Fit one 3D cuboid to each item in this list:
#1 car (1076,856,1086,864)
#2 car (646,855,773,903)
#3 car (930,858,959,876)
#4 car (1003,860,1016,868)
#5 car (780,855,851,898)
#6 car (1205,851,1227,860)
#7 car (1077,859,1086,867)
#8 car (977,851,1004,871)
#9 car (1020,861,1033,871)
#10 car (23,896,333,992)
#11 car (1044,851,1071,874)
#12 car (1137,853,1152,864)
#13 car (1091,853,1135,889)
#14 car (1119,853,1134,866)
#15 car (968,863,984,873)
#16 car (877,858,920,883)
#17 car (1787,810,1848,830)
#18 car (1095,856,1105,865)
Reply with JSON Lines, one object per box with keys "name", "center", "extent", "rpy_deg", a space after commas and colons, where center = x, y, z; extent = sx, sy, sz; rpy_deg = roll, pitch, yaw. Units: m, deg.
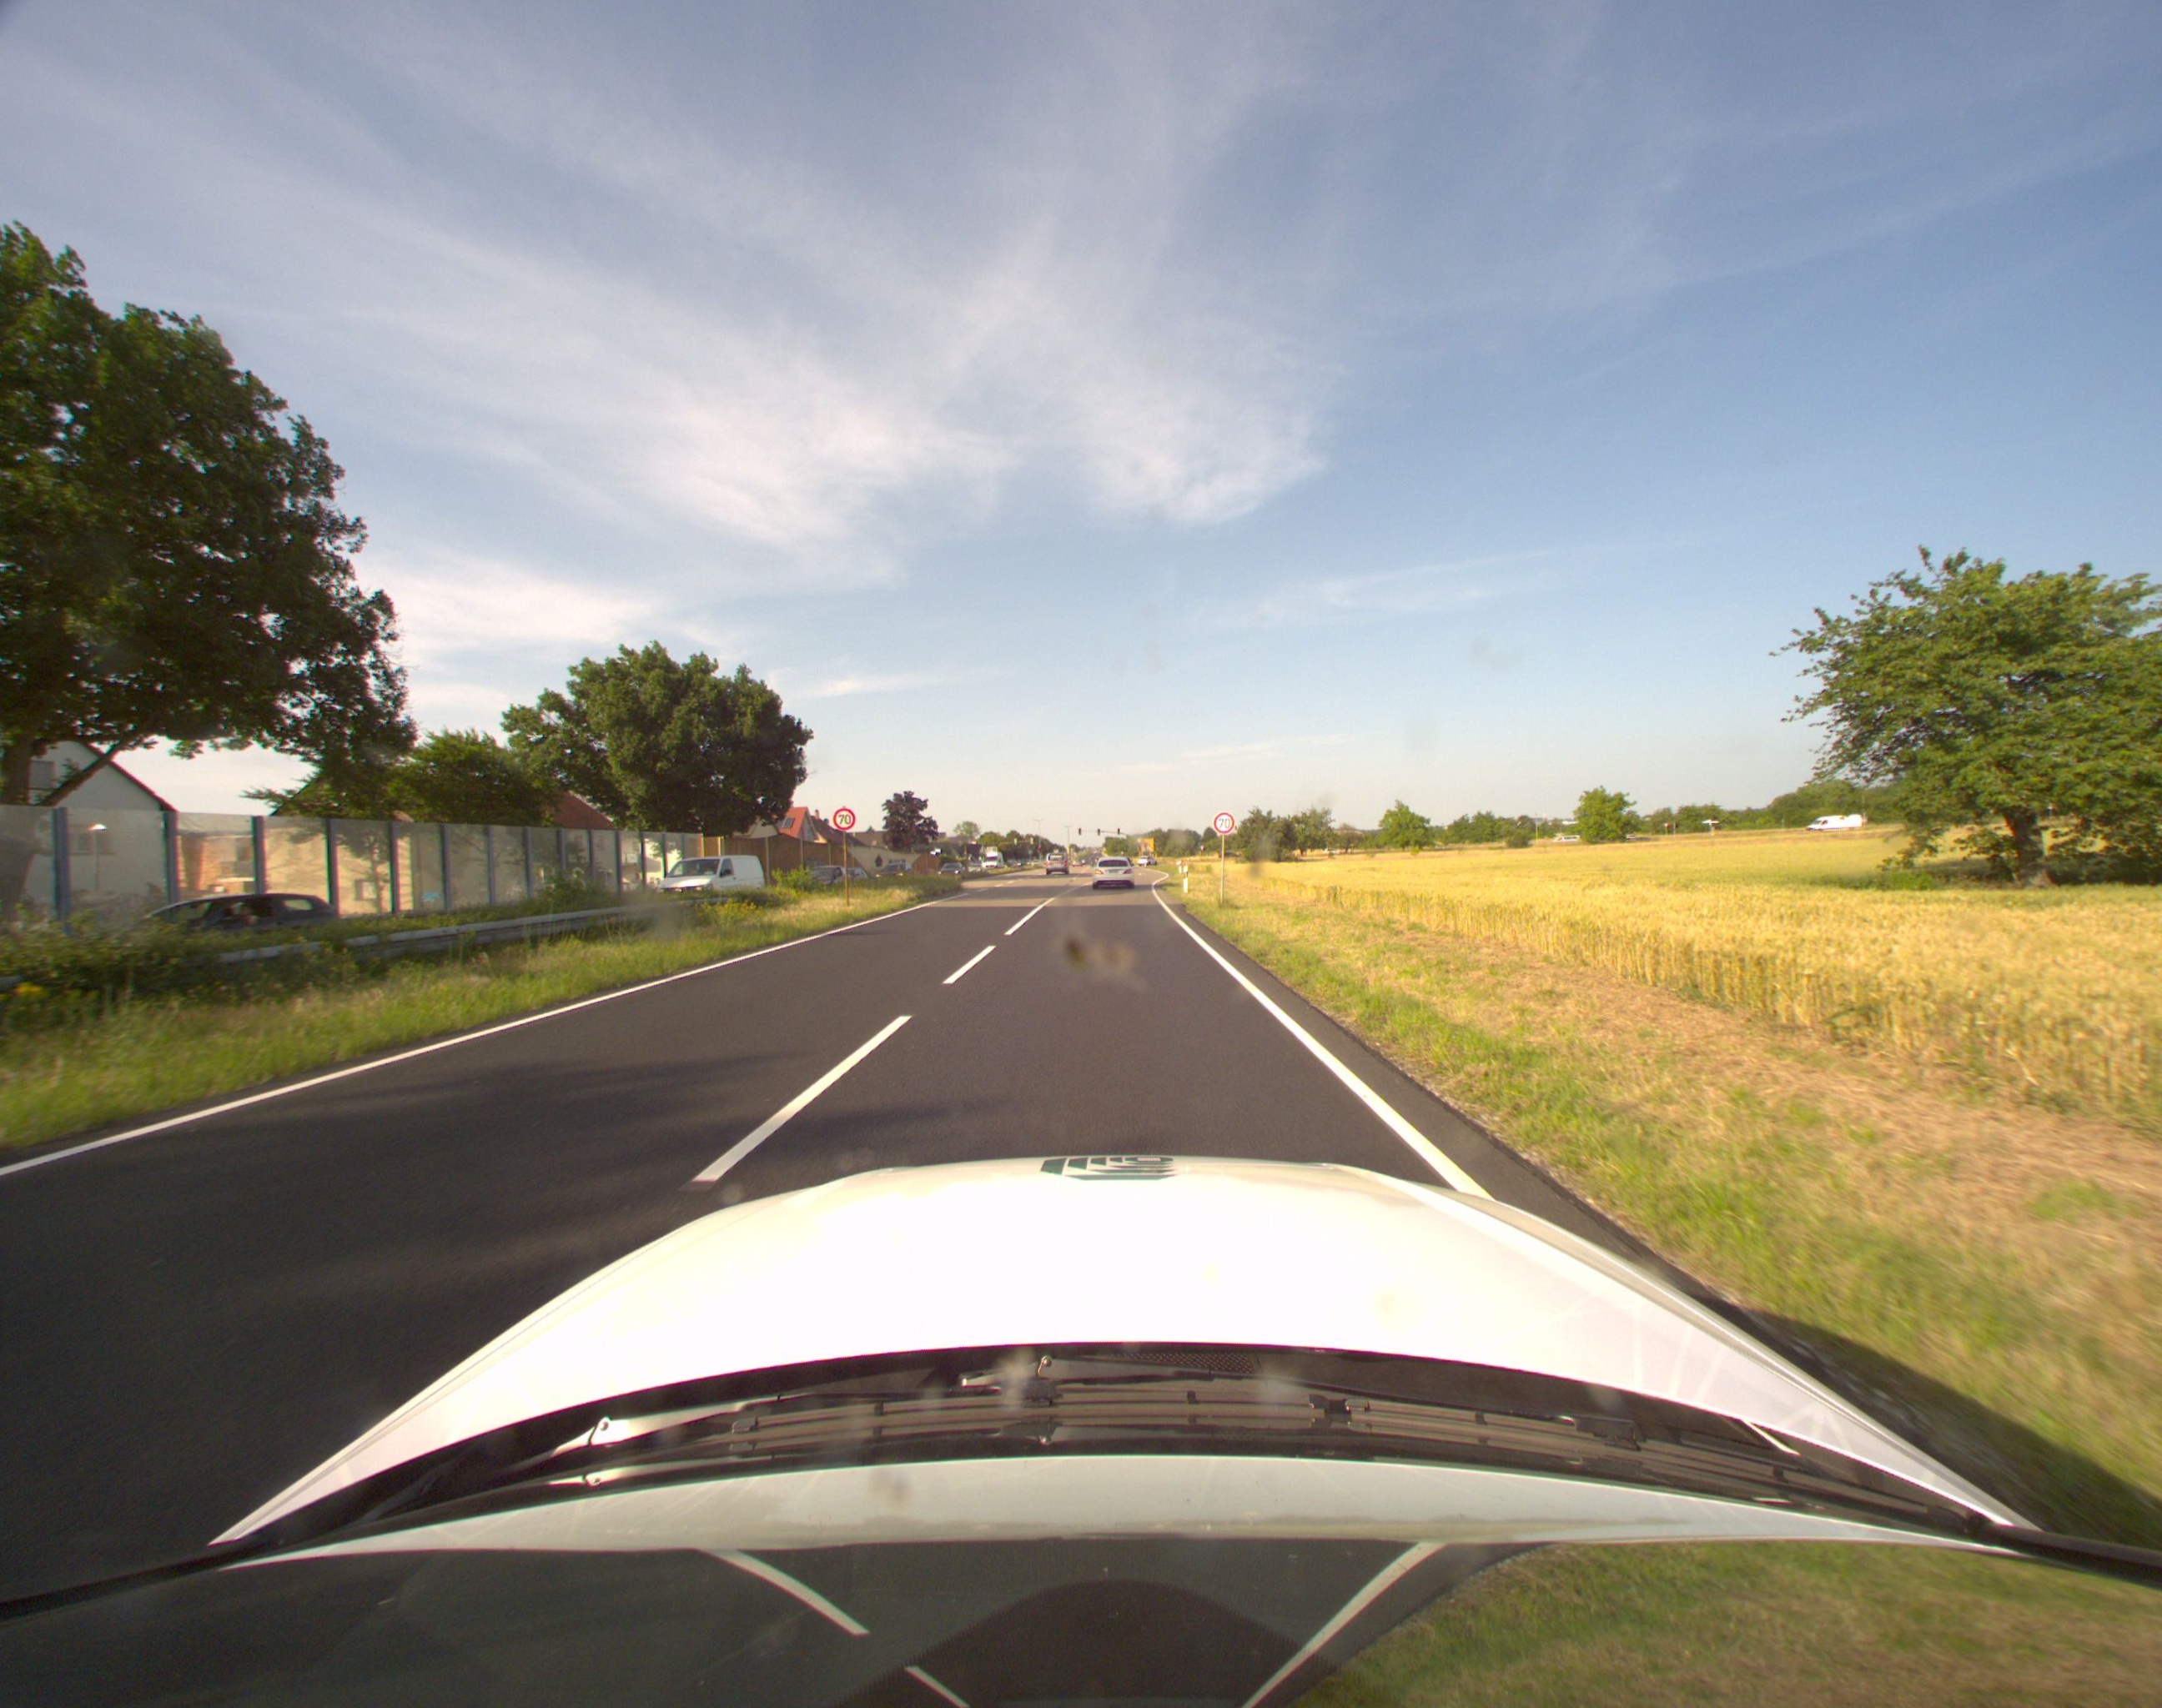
{"name": "car", "center": [0.017, 1.052, 144.768], "extent": [1.711, 1.492, 3.586], "rpy_deg": [-1, 0, 2]}
{"name": "car", "center": [-12.491, 0.776, 27.821], "extent": [1.974, 1.484, 5.060], "rpy_deg": [-1, 0, 1]}
{"name": "car", "center": [-11.169, 1.046, 66.719], "extent": [1.642, 1.442, 3.570], "rpy_deg": [-1, 0, 2]}
{"name": "car", "center": [-13.012, 1.838, 148.524], "extent": [1.704, 1.456, 4.002], "rpy_deg": [-1, 0, 2]}
{"name": "car", "center": [-12.116, 0.968, 37.421], "extent": [1.757, 1.832, 4.369], "rpy_deg": [-1, 0, 1]}
{"name": "car", "center": [23.096, 0.236, 139.501], "extent": [3.668, 1.420, 1.641], "rpy_deg": [-1, 0, 3]}
{"name": "car", "center": [0.118, 1.909, 180.321], "extent": [1.771, 1.665, 3.660], "rpy_deg": [-1, 0, -2]}
{"name": "car", "center": [-10.927, 0.815, 98.552], "extent": [2.340, 2.303, 7.192], "rpy_deg": [-1, 0, 1]}
{"name": "car", "center": [-9.297, 2.015, 139.612], "extent": [1.725, 1.625, 4.923], "rpy_deg": [-1, 0, 1]}
{"name": "car", "center": [-16.439, 1.561, 15.134], "extent": [1.667, 1.378, 3.609], "rpy_deg": [-1, 0, 2]}
{"name": "car", "center": [-2.068, 0.726, 72.085], "extent": [2.017, 1.891, 4.961], "rpy_deg": [-1, 0, 2]}
{"name": "car", "center": [10.049, 0.727, 129.341], "extent": [1.843, 1.598, 4.012], "rpy_deg": [-1, 0, 11]}
{"name": "car", "center": [1.423, 0.757, 37.220], "extent": [1.888, 1.509, 4.001], "rpy_deg": [-1, 0, 1]}
{"name": "car", "center": [5.708, 0.679, 102.782], "extent": [1.747, 1.517, 4.002], "rpy_deg": [-2, 0, 2]}
{"name": "car", "center": [-14.232, 1.886, 110.266], "extent": [1.679, 1.286, 3.147], "rpy_deg": [-1, 0, 1]}
{"name": "car", "center": [-11.277, 0.991, 50.587], "extent": [1.509, 1.465, 4.660], "rpy_deg": [-1, 0, 1]}
{"name": "car", "center": [116.614, -5.367, 129.019], "extent": [6.967, 2.795, 2.328], "rpy_deg": [-1, 0, 13]}
{"name": "car", "center": [3.866, 1.353, 166.716], "extent": [1.835, 1.684, 3.996], "rpy_deg": [-1, 0, -2]}
